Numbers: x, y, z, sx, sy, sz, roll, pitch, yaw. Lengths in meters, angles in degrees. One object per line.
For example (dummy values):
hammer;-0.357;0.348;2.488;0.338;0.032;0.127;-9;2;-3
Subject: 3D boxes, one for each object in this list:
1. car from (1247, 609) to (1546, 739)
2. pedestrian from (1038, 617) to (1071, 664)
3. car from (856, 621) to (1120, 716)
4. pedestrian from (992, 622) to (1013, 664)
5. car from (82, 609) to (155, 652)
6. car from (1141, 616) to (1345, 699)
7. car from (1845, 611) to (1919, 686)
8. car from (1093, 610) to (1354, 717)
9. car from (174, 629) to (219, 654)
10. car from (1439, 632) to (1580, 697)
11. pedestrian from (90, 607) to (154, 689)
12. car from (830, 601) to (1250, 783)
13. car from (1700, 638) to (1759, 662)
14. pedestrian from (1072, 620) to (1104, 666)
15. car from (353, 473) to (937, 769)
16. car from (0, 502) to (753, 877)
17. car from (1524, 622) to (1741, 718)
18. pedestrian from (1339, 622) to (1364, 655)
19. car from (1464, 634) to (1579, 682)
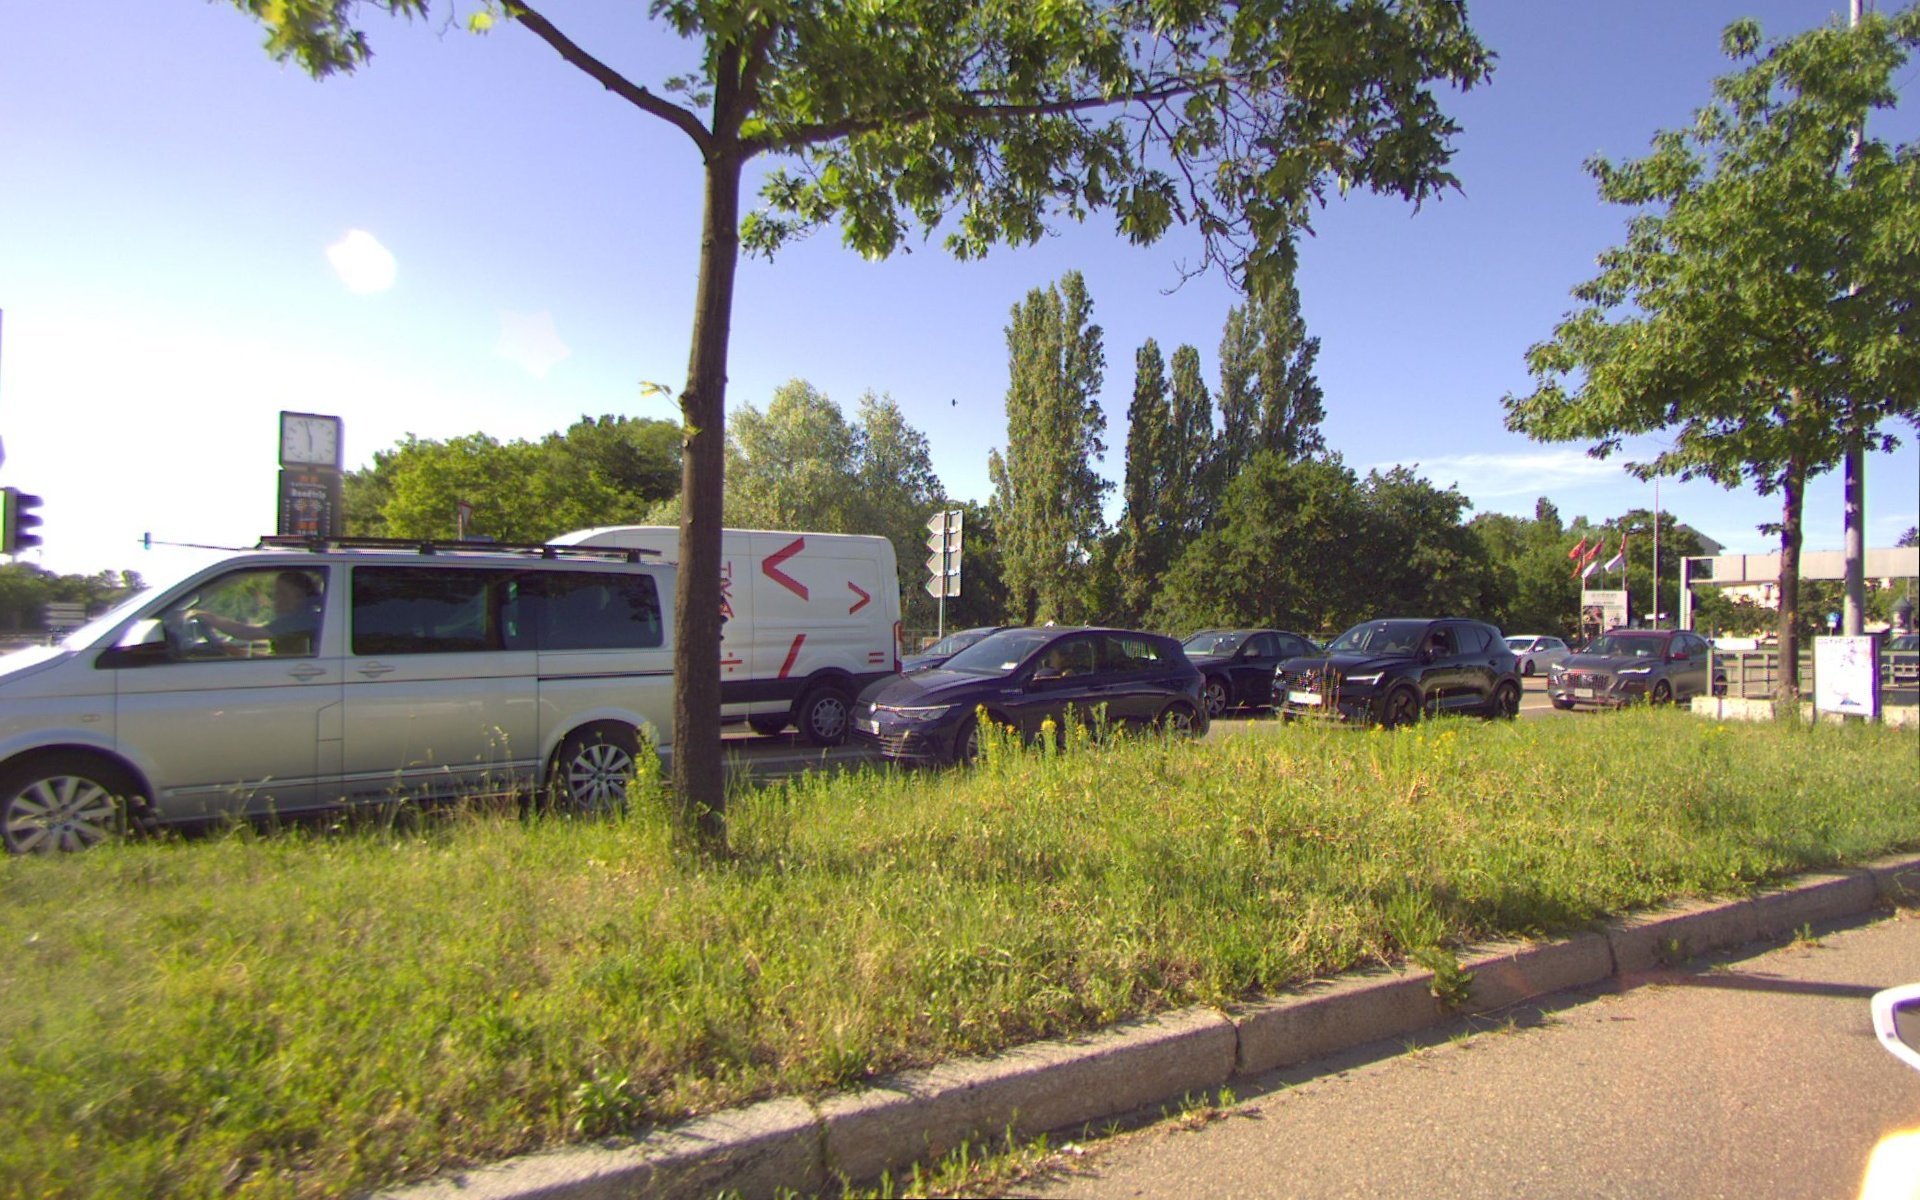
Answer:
car;6.472;0.986;14.746;4.458;1.644;1.925;1;-1;-34
pedestrian;3.477;1.480;36.890;0.814;1.688;0.787;4;-1;-28
car;0.553;1.157;18.028;4.458;1.484;1.925;1;-1;-34
pedestrian;1.593;1.609;37.617;0.527;1.542;0.543;4;-1;-28
car;-35.373;1.263;42.316;1.861;1.731;4.157;2;-1;-34
car;6.309;1.218;22.230;4.458;1.644;1.925;1;-1;-34
car;27.654;1.389;29.072;4.287;2.040;1.982;2;-2;-33
car;4.642;1.028;17.469;4.458;1.644;1.925;1;-1;-34
car;-49.113;2.645;64.679;1.978;1.528;3.964;1;-1;-33
car;15.173;1.733;27.689;3.700;1.644;1.925;1;-1;-33
pedestrian;-16.370;0.927;19.634;0.700;1.568;0.726;1;-1;-17
car;0.990;0.885;11.147;4.460;1.644;1.924;1;-1;-35
car;69.128;4.449;90.241;4.185;2.040;1.991;-1;-2;39
pedestrian;4.796;1.604;37.734;0.814;1.651;0.787;4;-1;-28
car;-3.299;0.256;11.407;6.027;2.610;1.924;1;-1;-35
car;-4.185;0.533;7.335;4.882;2.034;1.924;1;-1;-35
car;13.001;1.271;19.337;4.458;1.644;1.925;1;-1;-34
pedestrian;18.480;1.818;47.424;0.766;1.522;0.670;3;-1;-15
car;20.811;2.104;37.194;4.458;1.644;1.925;1;-1;-34
